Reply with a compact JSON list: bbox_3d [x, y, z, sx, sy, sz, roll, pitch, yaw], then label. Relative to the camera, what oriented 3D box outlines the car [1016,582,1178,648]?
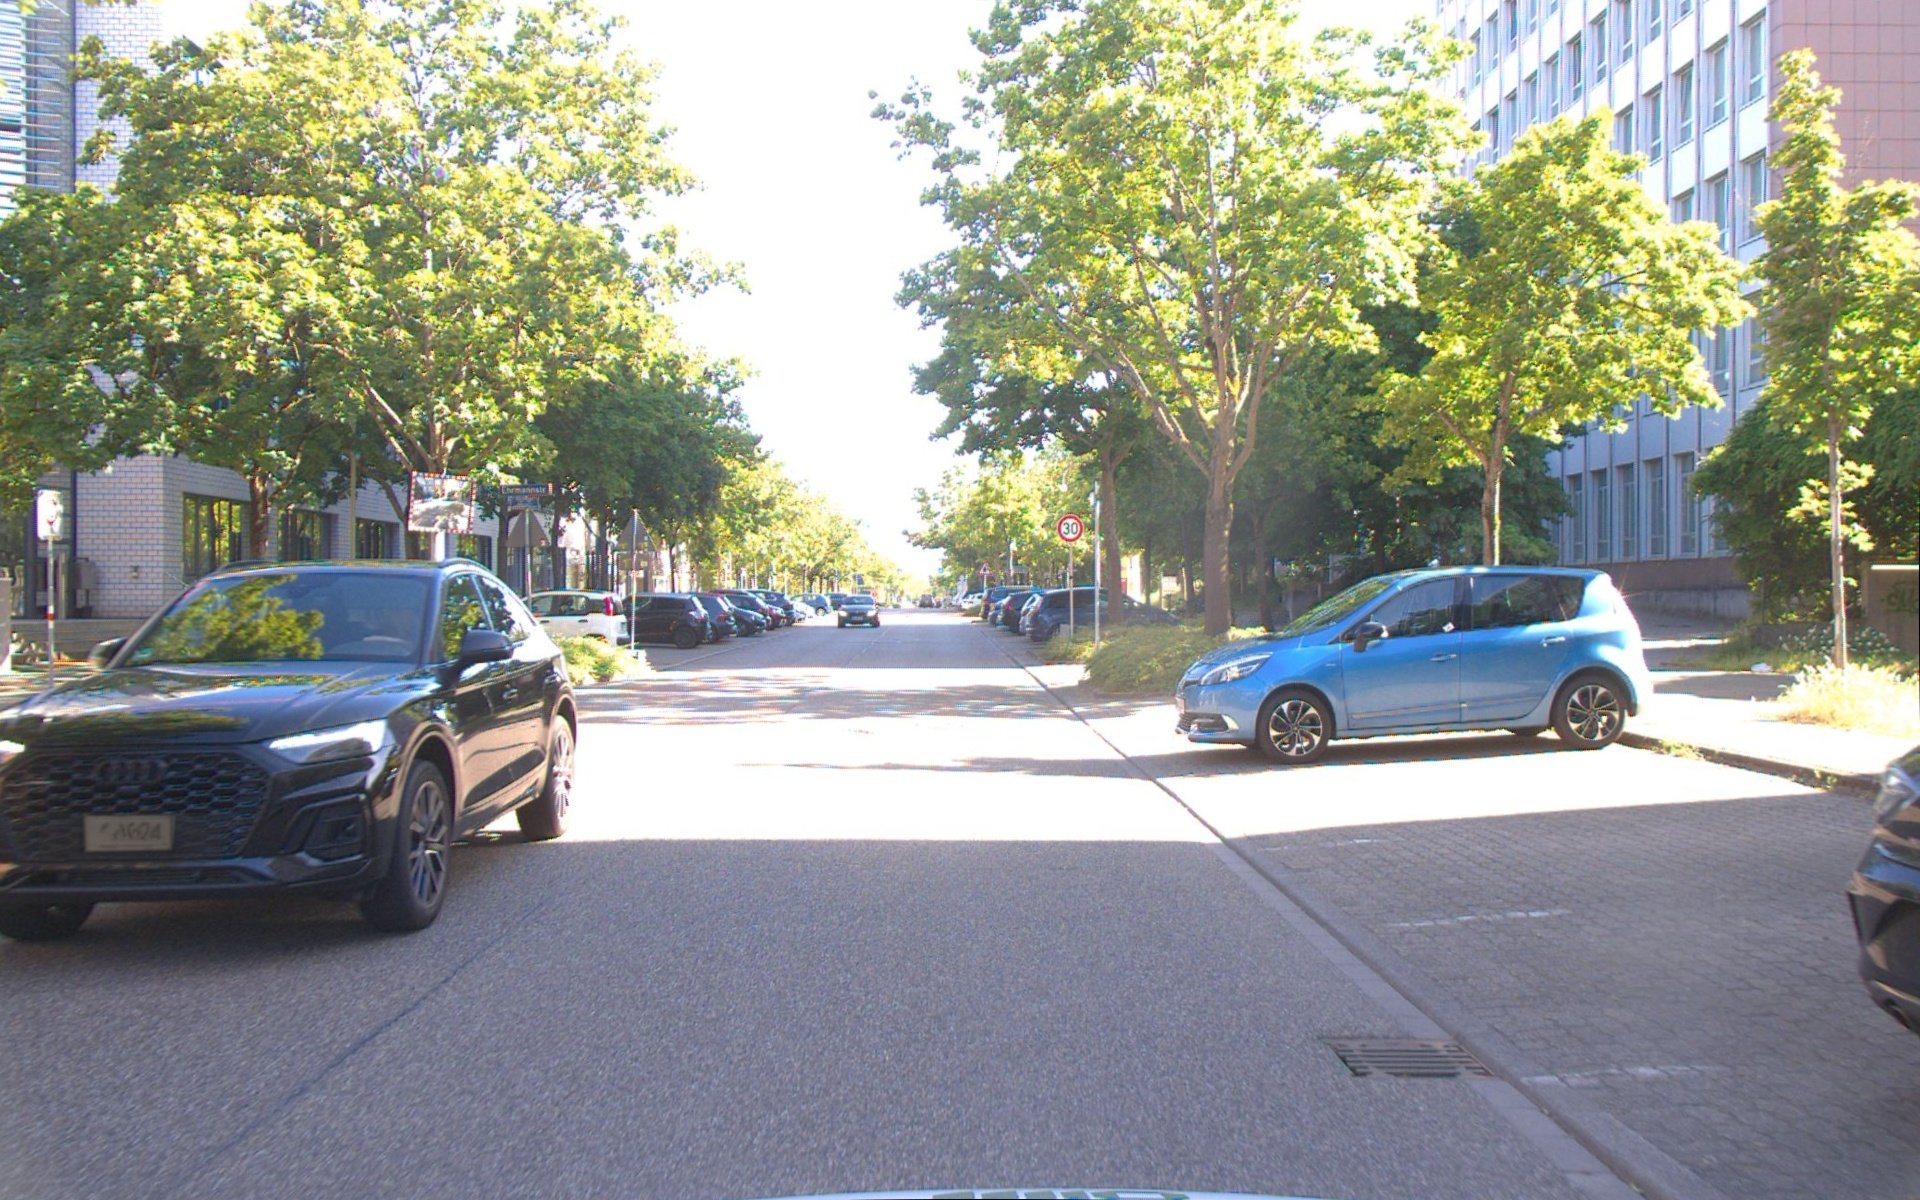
[{"bbox_3d":[3.715,0.394,45.424,4.183,1.662,1.857,-1,0,-4],"label":"car"}]

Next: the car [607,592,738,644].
[{"bbox_3d":[-8.728,0.543,50.426,3.685,1.470,1.631,1,0,-1],"label":"car"}]

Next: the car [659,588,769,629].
[{"bbox_3d":[-9.008,0.310,60.579,3.913,1.431,1.602,1,0,-9],"label":"car"}]

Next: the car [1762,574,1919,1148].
[{"bbox_3d":[4.421,0.619,4.284,3.769,1.509,1.824,-3,1,-2],"label":"car"}]

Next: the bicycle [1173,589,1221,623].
[{"bbox_3d":[7.917,0.203,55.230,0.377,1.097,1.759,0,0,-42],"label":"bicycle"}]

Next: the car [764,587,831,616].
[{"bbox_3d":[-10.061,0.099,102.421,3.904,1.683,1.861,-1,0,1],"label":"car"}]

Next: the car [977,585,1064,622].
[{"bbox_3d":[2.782,0.162,76.742,3.816,1.685,1.856,0,0,-5],"label":"car"}]

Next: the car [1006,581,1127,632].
[{"bbox_3d":[3.764,0.219,58.683,4.160,1.581,1.921,-3,0,3],"label":"car"}]

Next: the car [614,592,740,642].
[{"bbox_3d":[-9.055,0.534,53.081,3.790,1.482,1.753,1,1,-4],"label":"car"}]

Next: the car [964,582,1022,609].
[{"bbox_3d":[2.348,-0.322,117.180,3.910,1.823,1.997,0,0,-6],"label":"car"}]

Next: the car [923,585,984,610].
[{"bbox_3d":[-0.445,-0.191,110.444,3.910,1.653,1.997,0,0,-6],"label":"car"}]

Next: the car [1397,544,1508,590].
[{"bbox_3d":[20.608,-1.365,69.267,3.992,1.814,1.998,1,0,-5],"label":"car"}]

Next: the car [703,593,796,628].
[{"bbox_3d":[-9.114,0.460,71.893,3.814,1.489,1.857,0,0,-2],"label":"car"}]

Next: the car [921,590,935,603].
[{"bbox_3d":[-4.342,-0.491,225.071,1.894,1.625,4.365,-1,0,-1],"label":"car"}]

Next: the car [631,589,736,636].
[{"bbox_3d":[-9.238,0.405,55.520,3.353,1.488,1.694,1,1,-6],"label":"car"}]

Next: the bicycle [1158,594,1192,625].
[{"bbox_3d":[7.697,0.326,59.217,0.373,1.097,1.775,0,0,-22],"label":"bicycle"}]

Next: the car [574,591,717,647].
[{"bbox_3d":[-8.678,0.507,45.775,3.657,1.489,1.676,0,0,-2],"label":"car"}]

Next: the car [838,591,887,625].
[{"bbox_3d":[-4.285,0.327,73.400,1.775,1.440,4.109,0,0,2],"label":"car"}]

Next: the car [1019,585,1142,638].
[{"bbox_3d":[3.675,0.336,50.854,3.563,1.492,1.632,-2,0,-3],"label":"car"}]

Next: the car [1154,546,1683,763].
[{"bbox_3d":[4.125,0.467,15.390,4.317,1.646,1.911,-3,0,-2],"label":"car"}]

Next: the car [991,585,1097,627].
[{"bbox_3d":[3.266,0.239,64.808,3.964,1.517,1.548,-2,0,-4],"label":"car"}]

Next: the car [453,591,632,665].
[{"bbox_3d":[-9.059,0.632,36.106,3.509,1.577,1.636,0,-3,-4],"label":"car"}]

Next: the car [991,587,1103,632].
[{"bbox_3d":[3.241,0.341,61.886,3.968,1.619,1.547,-1,0,-9],"label":"car"}]

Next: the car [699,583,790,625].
[{"bbox_3d":[-8.855,0.185,68.105,3.468,1.686,1.761,0,-1,0],"label":"car"}]

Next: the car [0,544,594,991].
[{"bbox_3d":[-3.219,0.637,8.613,1.854,1.713,4.350,-1,0,-3],"label":"car"}]

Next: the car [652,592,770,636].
[{"bbox_3d":[-8.703,0.485,57.974,3.907,1.437,1.665,1,0,-3],"label":"car"}]

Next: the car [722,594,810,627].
[{"bbox_3d":[-8.814,0.473,75.306,3.814,1.489,1.857,0,0,-2],"label":"car"}]

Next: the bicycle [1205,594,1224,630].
[{"bbox_3d":[7.671,0.349,49.874,0.371,1.065,1.886,-2,0,4],"label":"bicycle"}]
